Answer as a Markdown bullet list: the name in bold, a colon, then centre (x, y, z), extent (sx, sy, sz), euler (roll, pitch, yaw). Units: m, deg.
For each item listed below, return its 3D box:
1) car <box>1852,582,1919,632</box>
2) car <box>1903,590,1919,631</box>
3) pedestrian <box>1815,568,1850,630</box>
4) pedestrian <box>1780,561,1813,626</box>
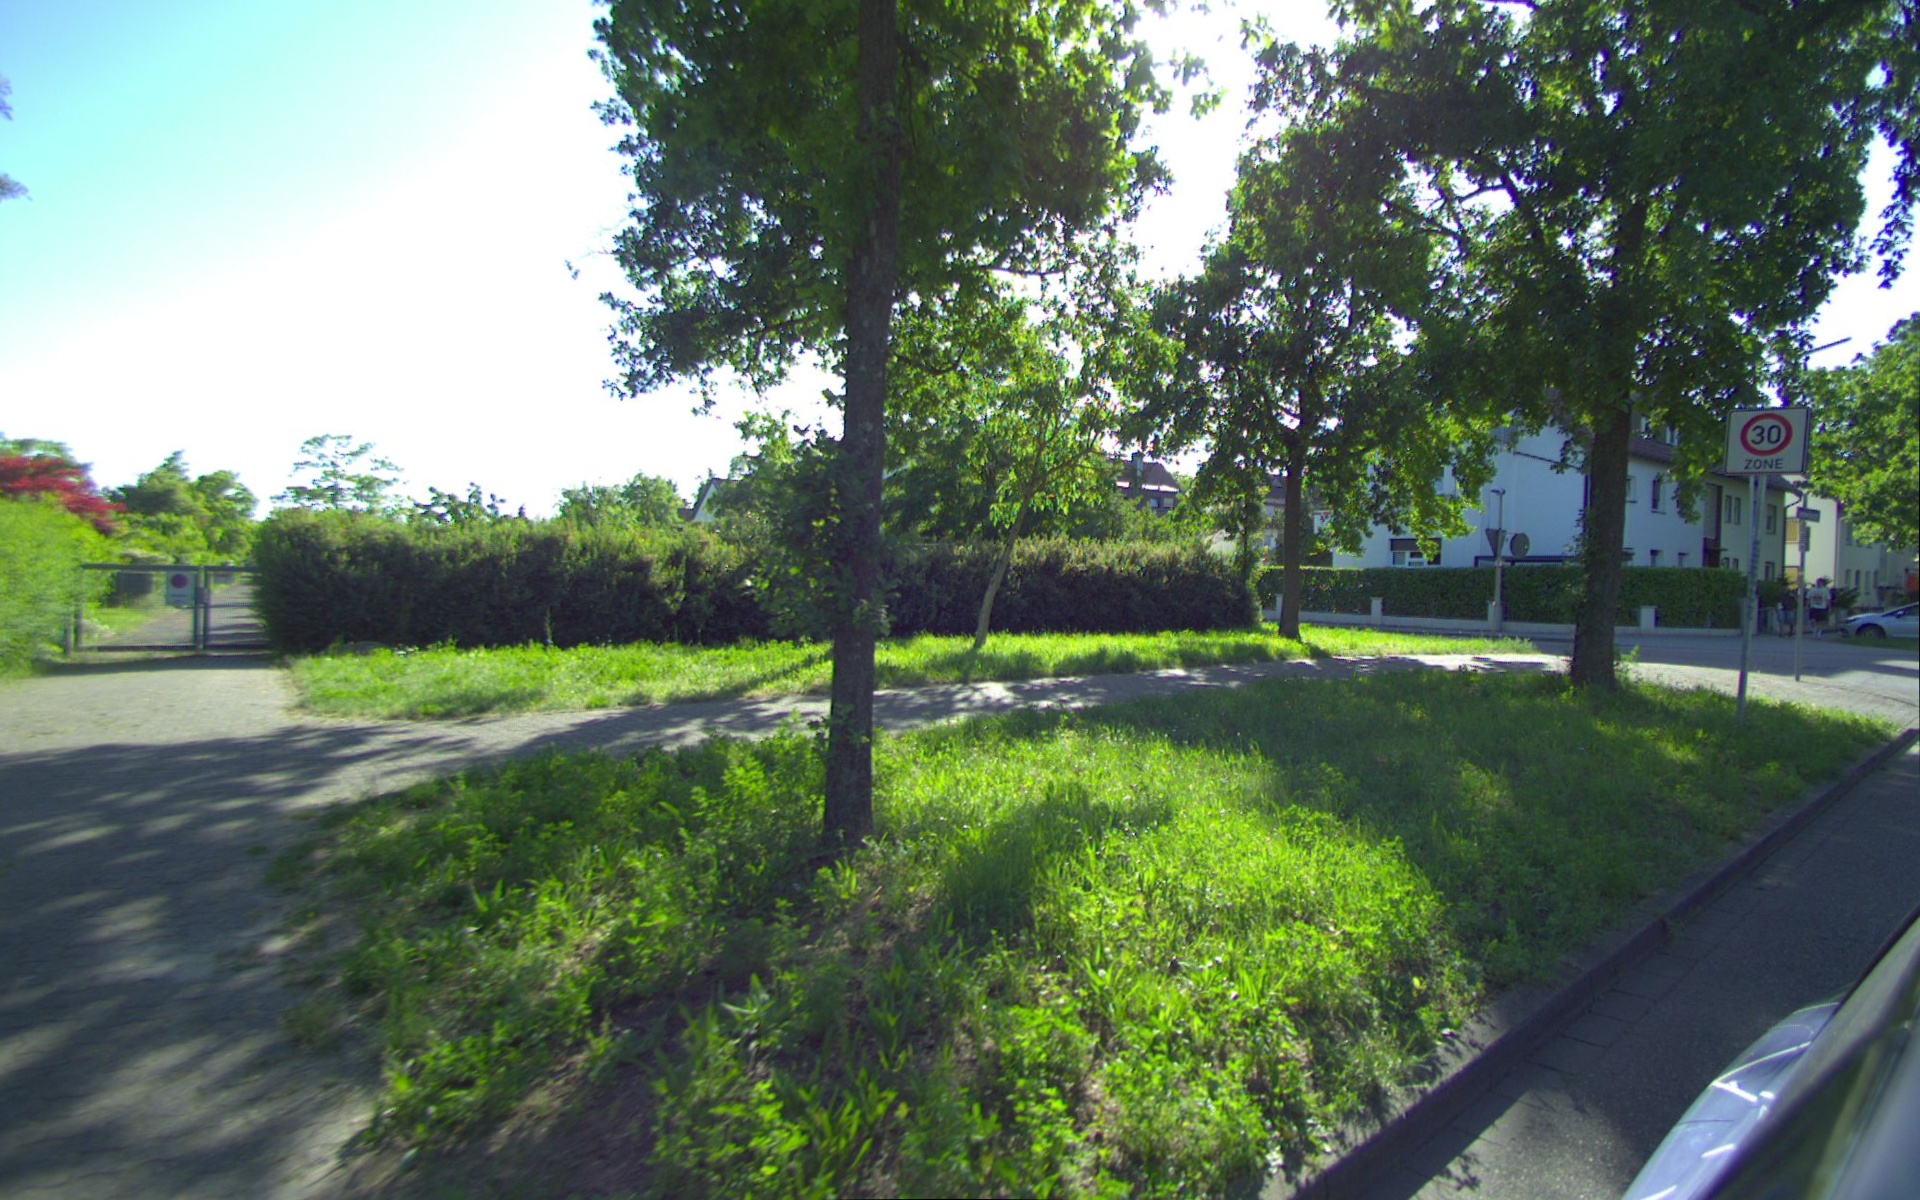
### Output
- **car**: centre (30.632, 0.248, 31.136), extent (1.907, 1.497, 4.511), euler (0, 2, -40)
- **car**: centre (37.247, 0.467, 36.492), extent (1.907, 1.497, 4.511), euler (0, 2, -40)
- **pedestrian**: centre (27.330, -0.047, 31.706), extent (0.854, 1.889, 0.665), euler (0, 2, -40)
- **pedestrian**: centre (26.756, -0.201, 32.363), extent (0.819, 2.038, 0.610), euler (0, 2, -40)
